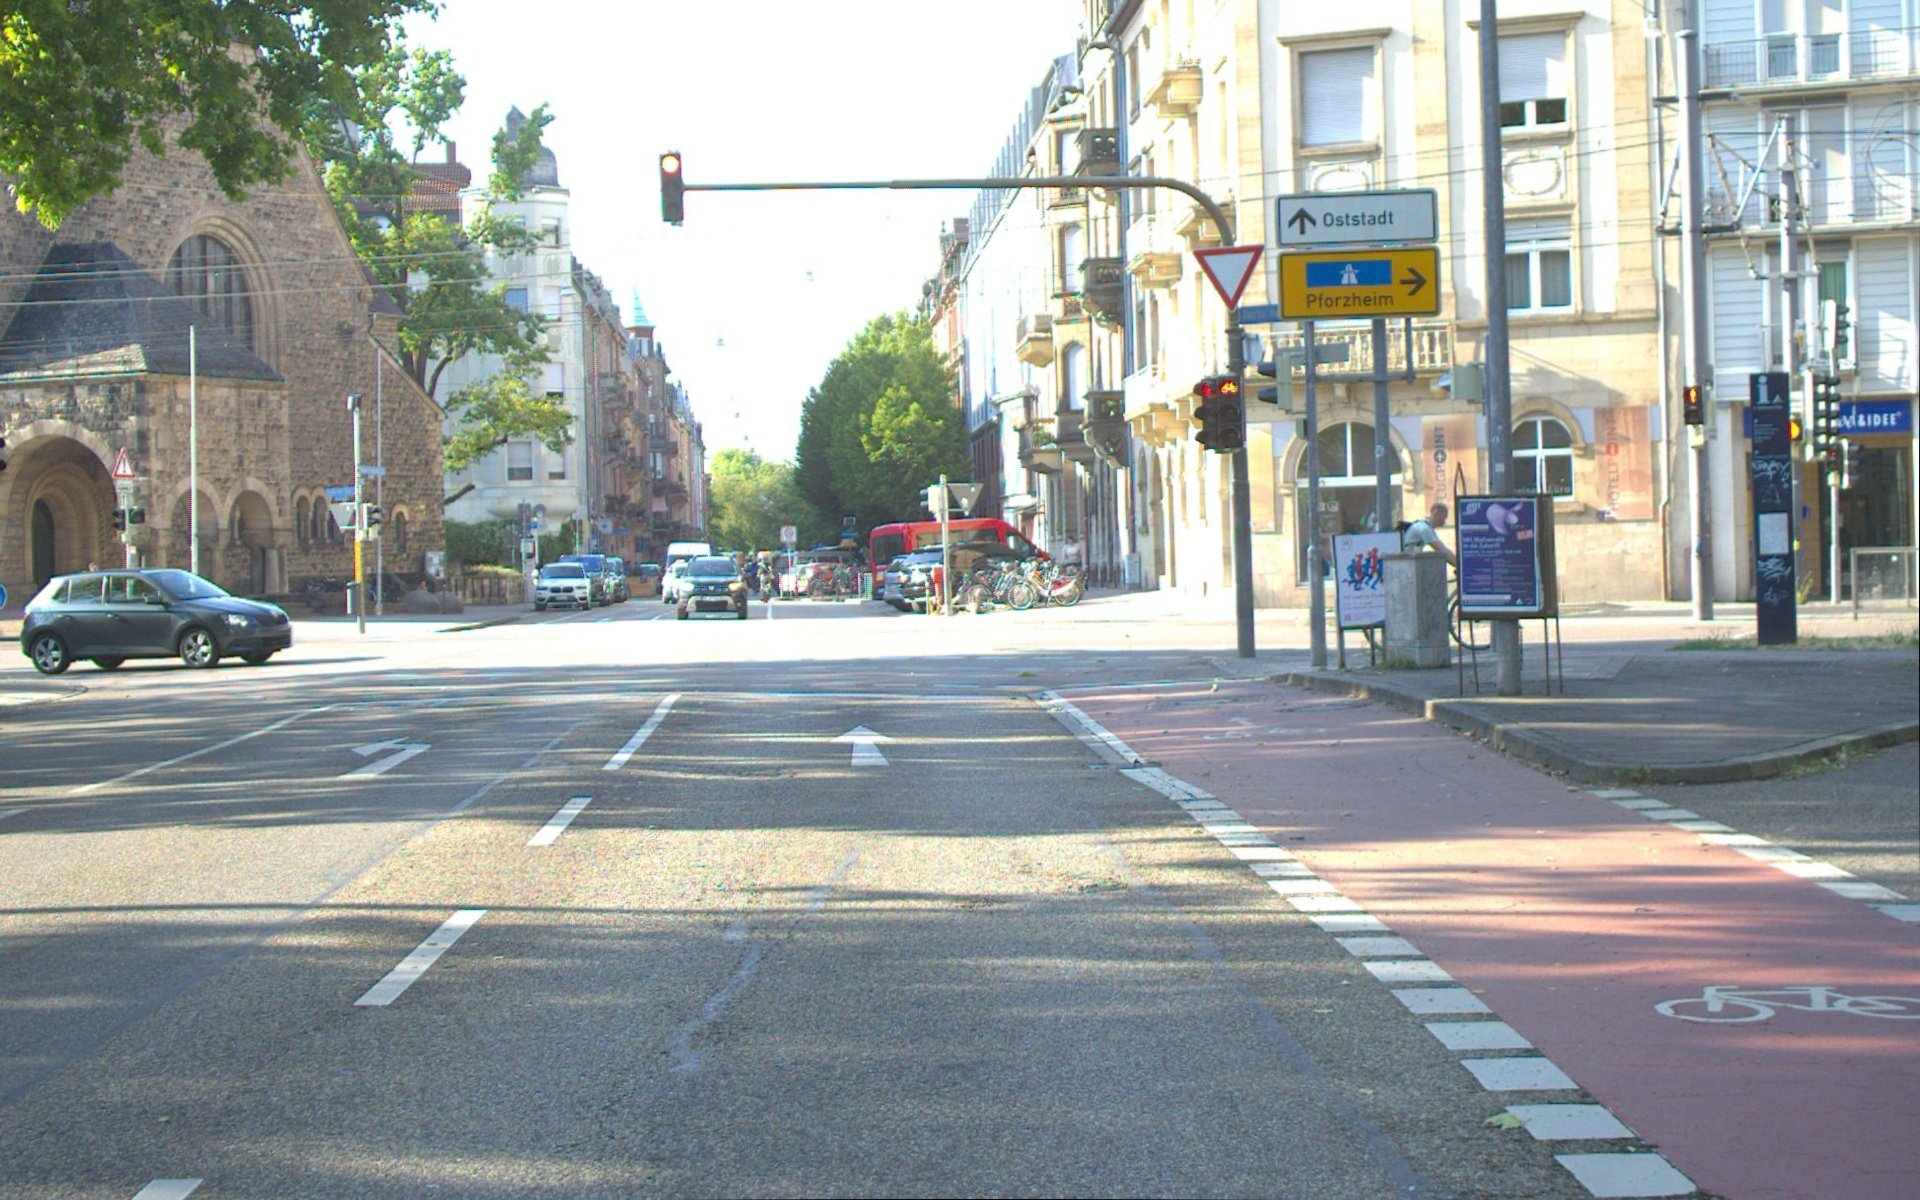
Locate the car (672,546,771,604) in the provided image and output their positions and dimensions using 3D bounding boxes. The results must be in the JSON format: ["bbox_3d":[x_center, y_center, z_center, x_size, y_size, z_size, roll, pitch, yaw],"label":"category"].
[{"bbox_3d":[-6.185,-0.630,89.344,1.588,1.457,3.181,1,0,15],"label":"car"}]

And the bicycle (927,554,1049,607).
[{"bbox_3d":[0.657,-0.458,80.871,2.802,1.199,0.517,1,0,-5],"label":"bicycle"}]

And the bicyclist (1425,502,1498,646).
[{"bbox_3d":[5.839,-0.303,39.996,0.802,1.651,0.934,1,0,10],"label":"bicyclist"}]

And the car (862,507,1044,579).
[{"bbox_3d":[-0.192,-1.643,100.409,4.988,2.007,2.166,1,0,-37],"label":"car"}]

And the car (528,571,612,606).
[{"bbox_3d":[-13.080,-0.378,115.544,1.595,1.140,3.381,1,0,16],"label":"car"}]

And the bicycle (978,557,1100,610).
[{"bbox_3d":[1.834,-0.388,80.117,2.802,1.199,0.510,1,0,-5],"label":"bicycle"}]

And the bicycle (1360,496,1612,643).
[{"bbox_3d":[6.098,-0.353,39.851,2.843,1.650,0.830,1,0,10],"label":"bicycle"}]

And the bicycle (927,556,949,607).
[{"bbox_3d":[-0.534,-0.435,82.748,0.508,1.199,2.092,1,0,0],"label":"bicycle"}]

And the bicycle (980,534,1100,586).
[{"bbox_3d":[1.915,-0.948,82.316,2.802,1.199,0.510,1,0,-5],"label":"bicycle"}]

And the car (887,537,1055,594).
[{"bbox_3d":[0.314,-0.954,96.826,4.417,1.532,1.875,1,0,-34],"label":"car"}]

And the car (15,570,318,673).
[{"bbox_3d":[-11.356,0.298,49.222,3.930,1.392,1.651,1,0,19],"label":"car"}]

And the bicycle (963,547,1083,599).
[{"bbox_3d":[1.488,-0.642,81.612,2.802,1.199,0.517,1,0,-5],"label":"bicycle"}]
